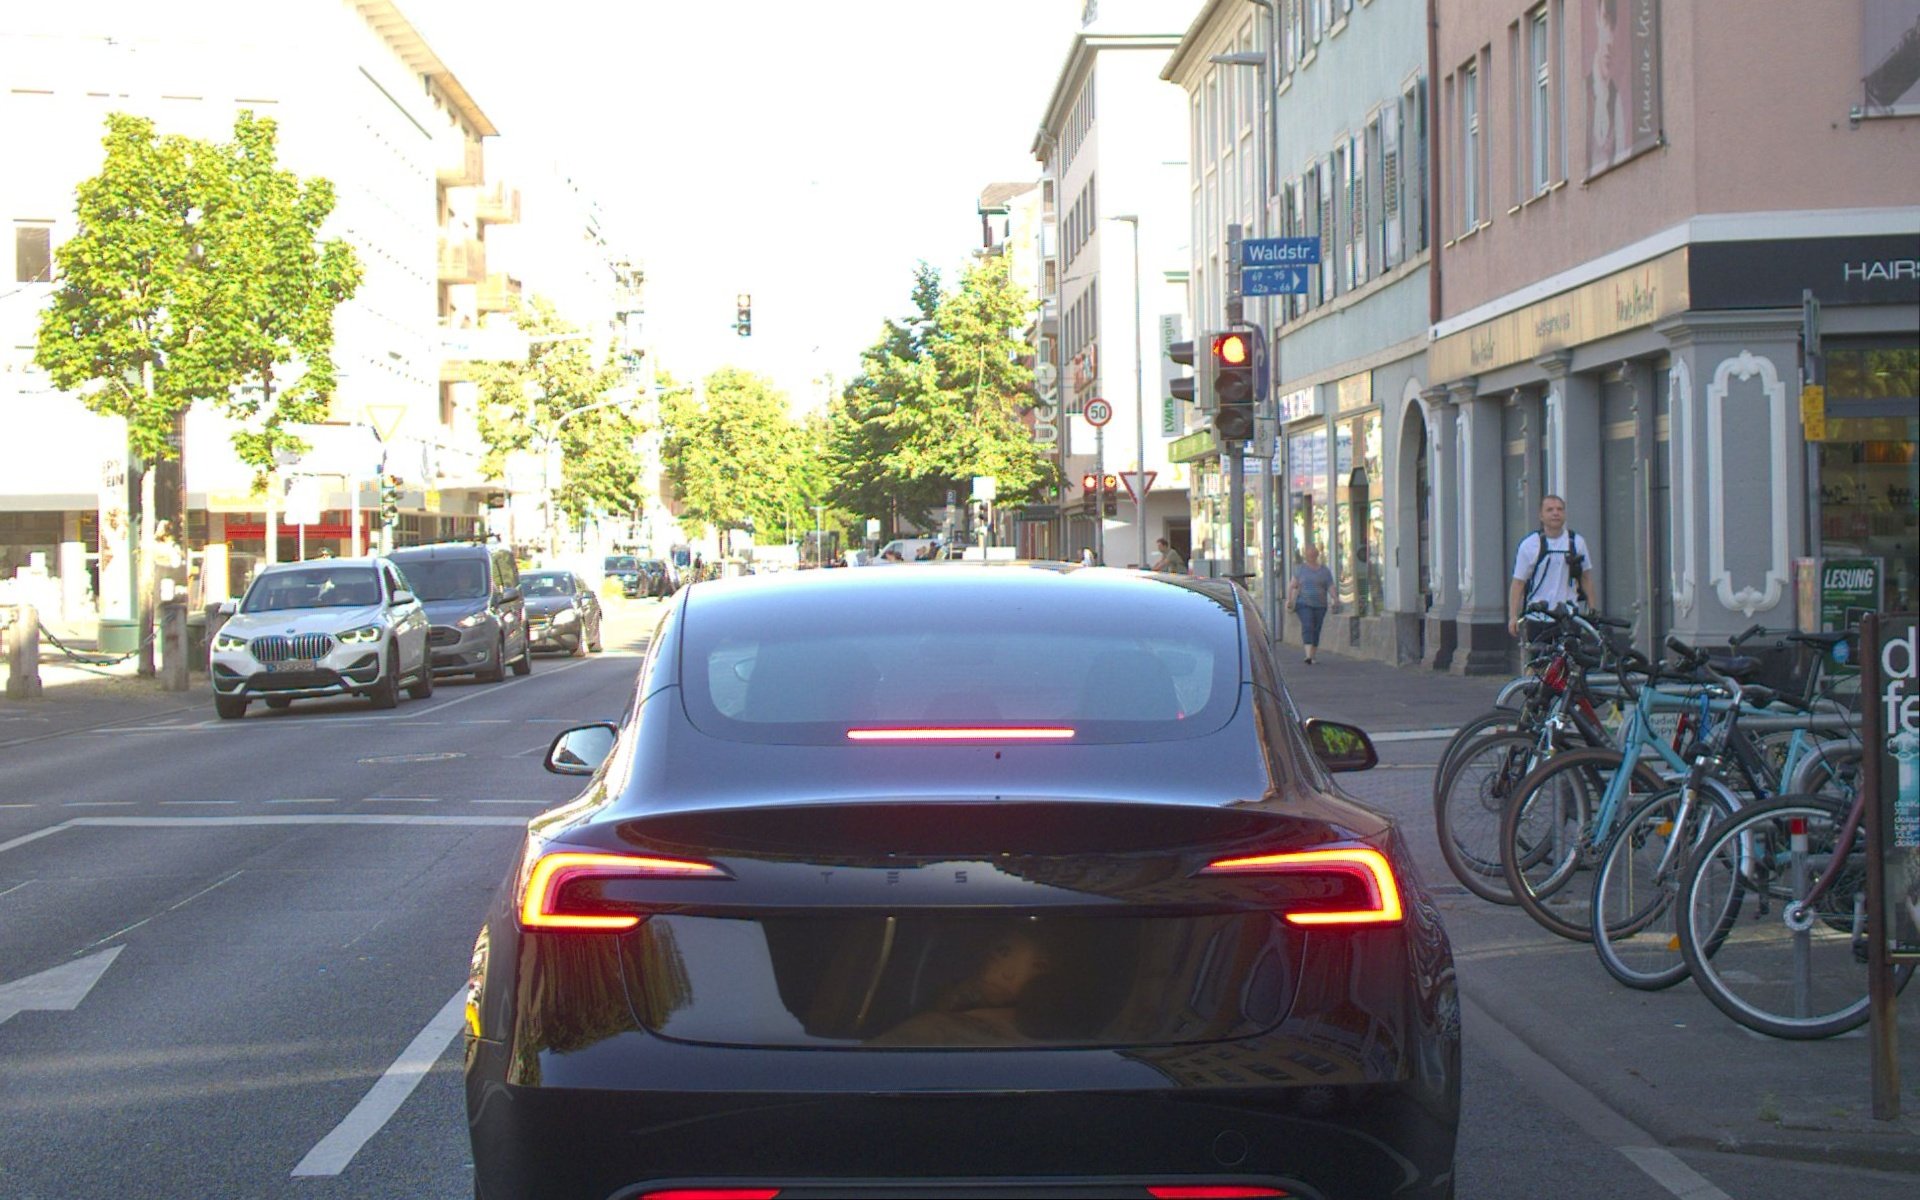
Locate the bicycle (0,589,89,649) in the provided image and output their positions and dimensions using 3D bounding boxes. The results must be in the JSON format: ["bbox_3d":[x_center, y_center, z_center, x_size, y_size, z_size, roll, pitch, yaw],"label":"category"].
[{"bbox_3d":[-14.840,0.301,54.564,1.864,0.931,0.606,0,1,-1],"label":"bicycle"}]

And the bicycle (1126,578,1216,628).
[{"bbox_3d":[4.378,0.061,71.346,1.784,1.003,0.472,1,0,-16],"label":"bicycle"}]

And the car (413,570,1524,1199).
[{"bbox_3d":[-0.008,0.657,7.643,1.822,1.437,4.000,0,1,-1],"label":"car"}]

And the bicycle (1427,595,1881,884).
[{"bbox_3d":[2.959,0.592,14.766,1.828,1.165,0.505,-2,0,5],"label":"bicycle"}]

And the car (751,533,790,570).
[{"bbox_3d":[-10.303,-2.638,187.118,1.993,2.007,4.000,0,1,-1],"label":"car"}]

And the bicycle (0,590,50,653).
[{"bbox_3d":[-14.811,0.326,52.115,1.864,0.931,0.606,0,1,-1],"label":"bicycle"}]

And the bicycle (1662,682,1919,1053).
[{"bbox_3d":[3.023,0.755,9.981,1.873,1.034,0.353,-2,0,6],"label":"bicycle"}]

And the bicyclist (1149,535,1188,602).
[{"bbox_3d":[4.323,-0.654,71.331,0.669,1.390,0.462,1,0,-16],"label":"bicyclist"}]

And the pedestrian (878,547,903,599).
[{"bbox_3d":[-1.903,-0.750,94.645,0.472,1.412,0.522,1,0,-31],"label":"pedestrian"}]

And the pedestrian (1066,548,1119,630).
[{"bbox_3d":[2.669,-0.230,69.273,0.754,1.626,0.956,1,0,-18],"label":"pedestrian"}]

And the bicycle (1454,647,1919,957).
[{"bbox_3d":[2.771,0.720,12.455,1.873,1.034,0.533,-2,0,4],"label":"bicycle"}]

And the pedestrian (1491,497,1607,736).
[{"bbox_3d":[4.430,0.119,25.898,0.750,1.759,0.836,1,0,4],"label":"pedestrian"}]

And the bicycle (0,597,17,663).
[{"bbox_3d":[-14.703,0.422,49.914,1.864,0.931,0.606,1,0,-1],"label":"bicycle"}]

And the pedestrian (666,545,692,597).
[{"bbox_3d":[-9.242,-0.963,113.100,0.848,1.689,0.718,0,1,-3],"label":"pedestrian"}]

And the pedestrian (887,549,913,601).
[{"bbox_3d":[-1.629,-0.678,93.719,0.521,1.417,0.479,1,0,-30],"label":"pedestrian"}]

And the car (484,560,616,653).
[{"bbox_3d":[-6.647,0.076,56.064,1.715,1.441,3.845,1,1,-1],"label":"car"}]

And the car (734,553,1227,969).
[{"bbox_3d":[0.006,0.534,13.859,1.718,1.420,3.758,0,1,-2],"label":"car"}]

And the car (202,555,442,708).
[{"bbox_3d":[-6.648,0.292,36.163,1.789,1.455,3.757,-2,1,0],"label":"car"}]

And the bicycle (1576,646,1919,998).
[{"bbox_3d":[2.990,0.702,11.173,1.873,1.084,0.414,-2,0,4],"label":"bicycle"}]

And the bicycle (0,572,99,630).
[{"bbox_3d":[-20.775,0.020,77.932,2.361,1.291,0.513,1,0,-26],"label":"bicycle"}]

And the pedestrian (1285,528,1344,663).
[{"bbox_3d":[4.609,-0.064,44.736,0.706,1.736,0.540,0,1,-1],"label":"pedestrian"}]

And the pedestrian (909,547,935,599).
[{"bbox_3d":[-1.044,-0.753,94.291,0.521,1.417,0.479,1,0,-30],"label":"pedestrian"}]

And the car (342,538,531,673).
[{"bbox_3d":[-6.623,0.032,43.862,1.787,1.640,4.403,0,1,-1],"label":"car"}]

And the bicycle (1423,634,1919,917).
[{"bbox_3d":[2.810,0.689,13.647,1.873,1.034,0.547,-2,0,5],"label":"bicycle"}]
